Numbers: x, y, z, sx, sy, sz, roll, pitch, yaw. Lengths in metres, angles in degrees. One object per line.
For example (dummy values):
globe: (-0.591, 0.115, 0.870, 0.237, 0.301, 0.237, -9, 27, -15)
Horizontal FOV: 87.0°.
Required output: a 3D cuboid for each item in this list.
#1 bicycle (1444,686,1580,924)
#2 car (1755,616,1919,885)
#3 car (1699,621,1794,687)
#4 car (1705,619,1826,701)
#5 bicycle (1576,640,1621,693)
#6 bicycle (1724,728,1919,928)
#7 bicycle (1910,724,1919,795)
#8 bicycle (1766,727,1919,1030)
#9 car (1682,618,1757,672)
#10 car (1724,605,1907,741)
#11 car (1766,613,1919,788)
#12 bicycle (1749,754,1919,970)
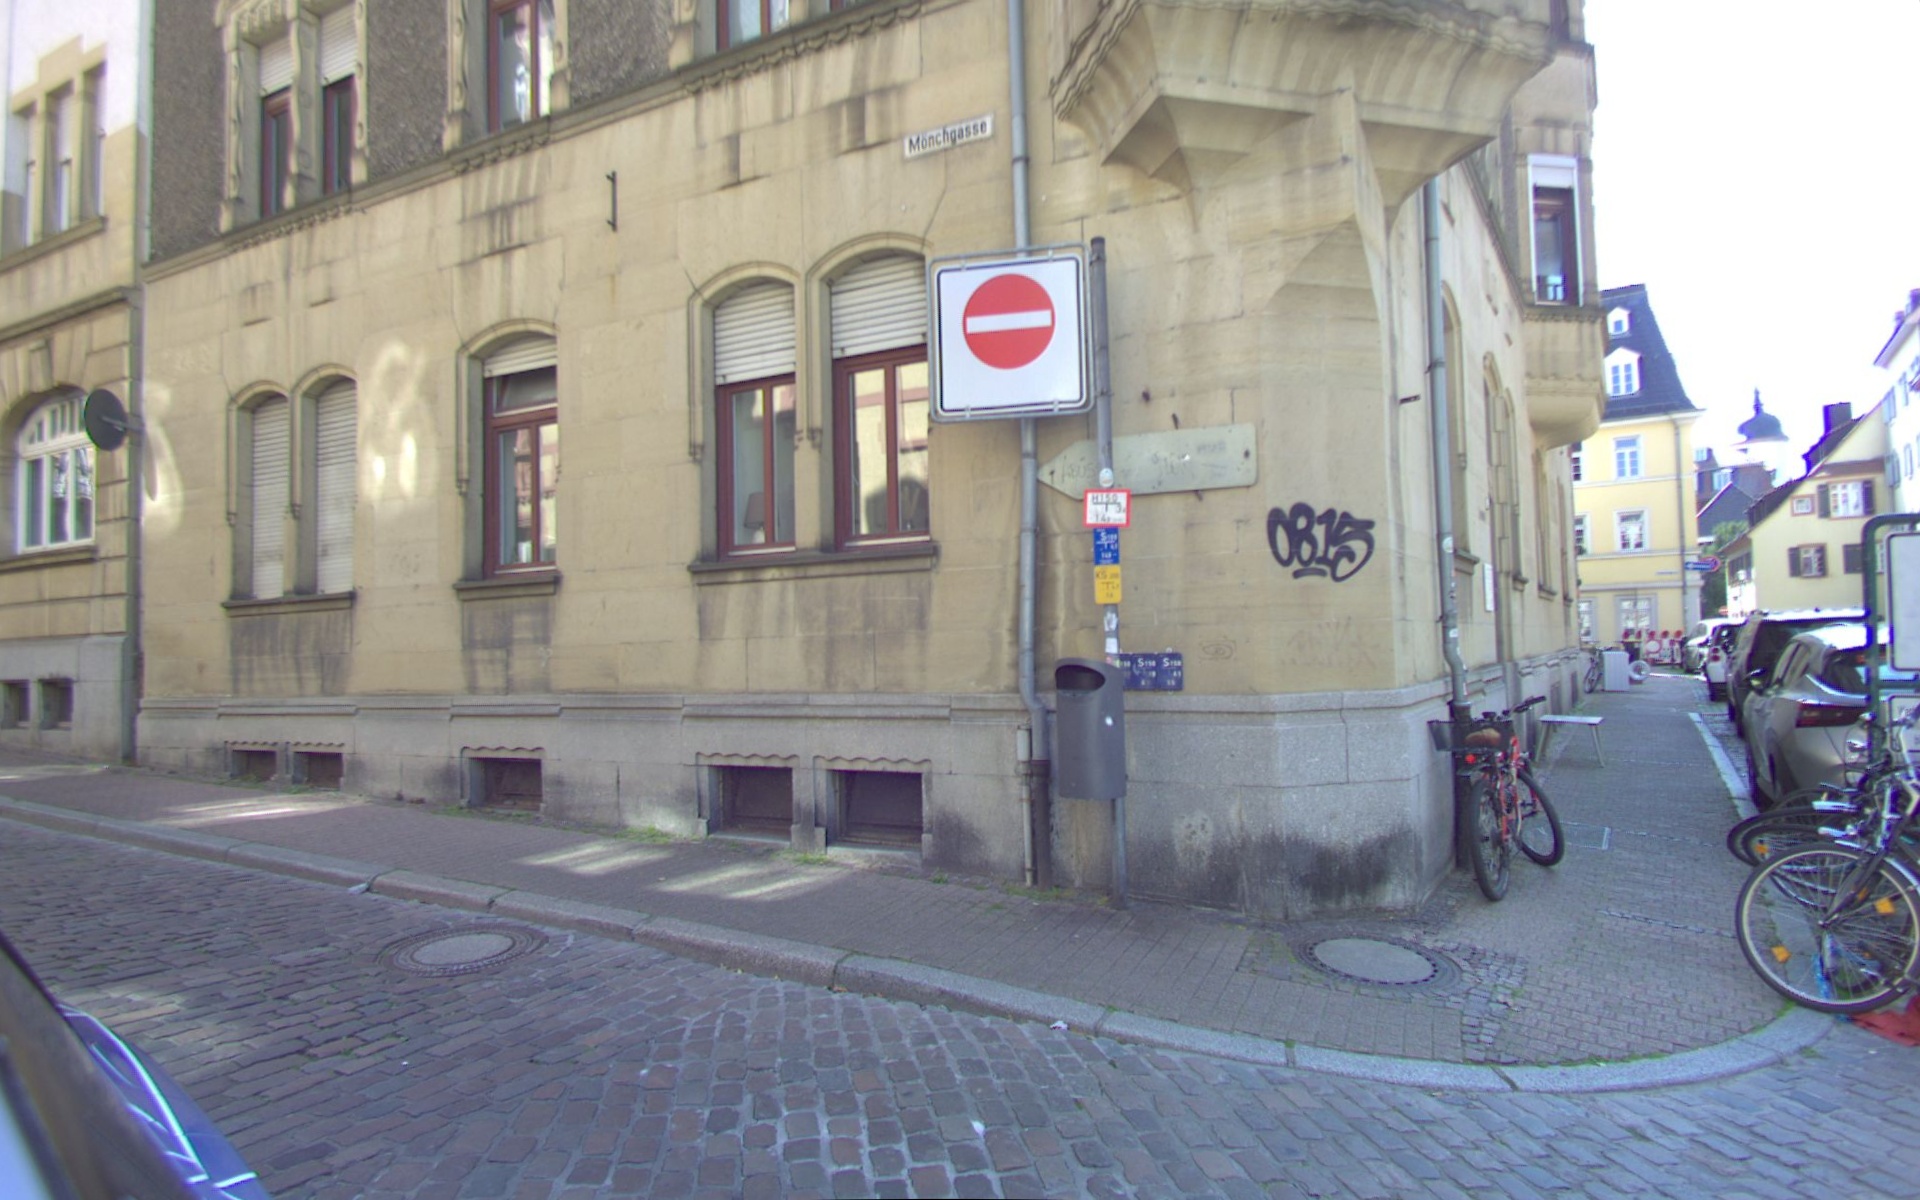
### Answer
bicycle: (3.259, 1.101, 5.909, 0.495, 1.094, 1.623, 2, -1, 35)
car: (7.048, 0.899, 7.209, 1.848, 1.556, 3.882, -3, -3, 34)
car: (19.538, 1.283, 25.276, 1.659, 1.454, 4.021, -2, -1, 35)
car: (16.091, 1.134, 20.377, 1.659, 1.454, 3.814, -2, -1, 36)
bicycle: (14.065, 1.448, 22.285, 0.483, 1.107, 1.582, -3, -3, 44)
bicycle: (4.577, 1.070, 4.580, 1.633, 1.081, 0.287, -2, 41, 25)
bicycle: (5.489, 1.087, 4.674, 1.623, 1.094, 0.285, -4, -5, 8)
bicycle: (3.985, 1.059, 3.622, 0.281, 1.094, 1.645, -3, -1, -40)
car: (22.678, 1.311, 30.330, 1.659, 1.454, 3.814, -2, -1, 36)
car: (11.909, 0.913, 14.304, 1.565, 1.648, 3.815, -2, -1, 35)
car: (9.889, 0.934, 10.737, 1.849, 1.556, 3.951, -2, -1, 36)
bicycle: (4.364, 1.125, 4.133, 1.633, 1.081, 0.287, -2, 41, 25)
